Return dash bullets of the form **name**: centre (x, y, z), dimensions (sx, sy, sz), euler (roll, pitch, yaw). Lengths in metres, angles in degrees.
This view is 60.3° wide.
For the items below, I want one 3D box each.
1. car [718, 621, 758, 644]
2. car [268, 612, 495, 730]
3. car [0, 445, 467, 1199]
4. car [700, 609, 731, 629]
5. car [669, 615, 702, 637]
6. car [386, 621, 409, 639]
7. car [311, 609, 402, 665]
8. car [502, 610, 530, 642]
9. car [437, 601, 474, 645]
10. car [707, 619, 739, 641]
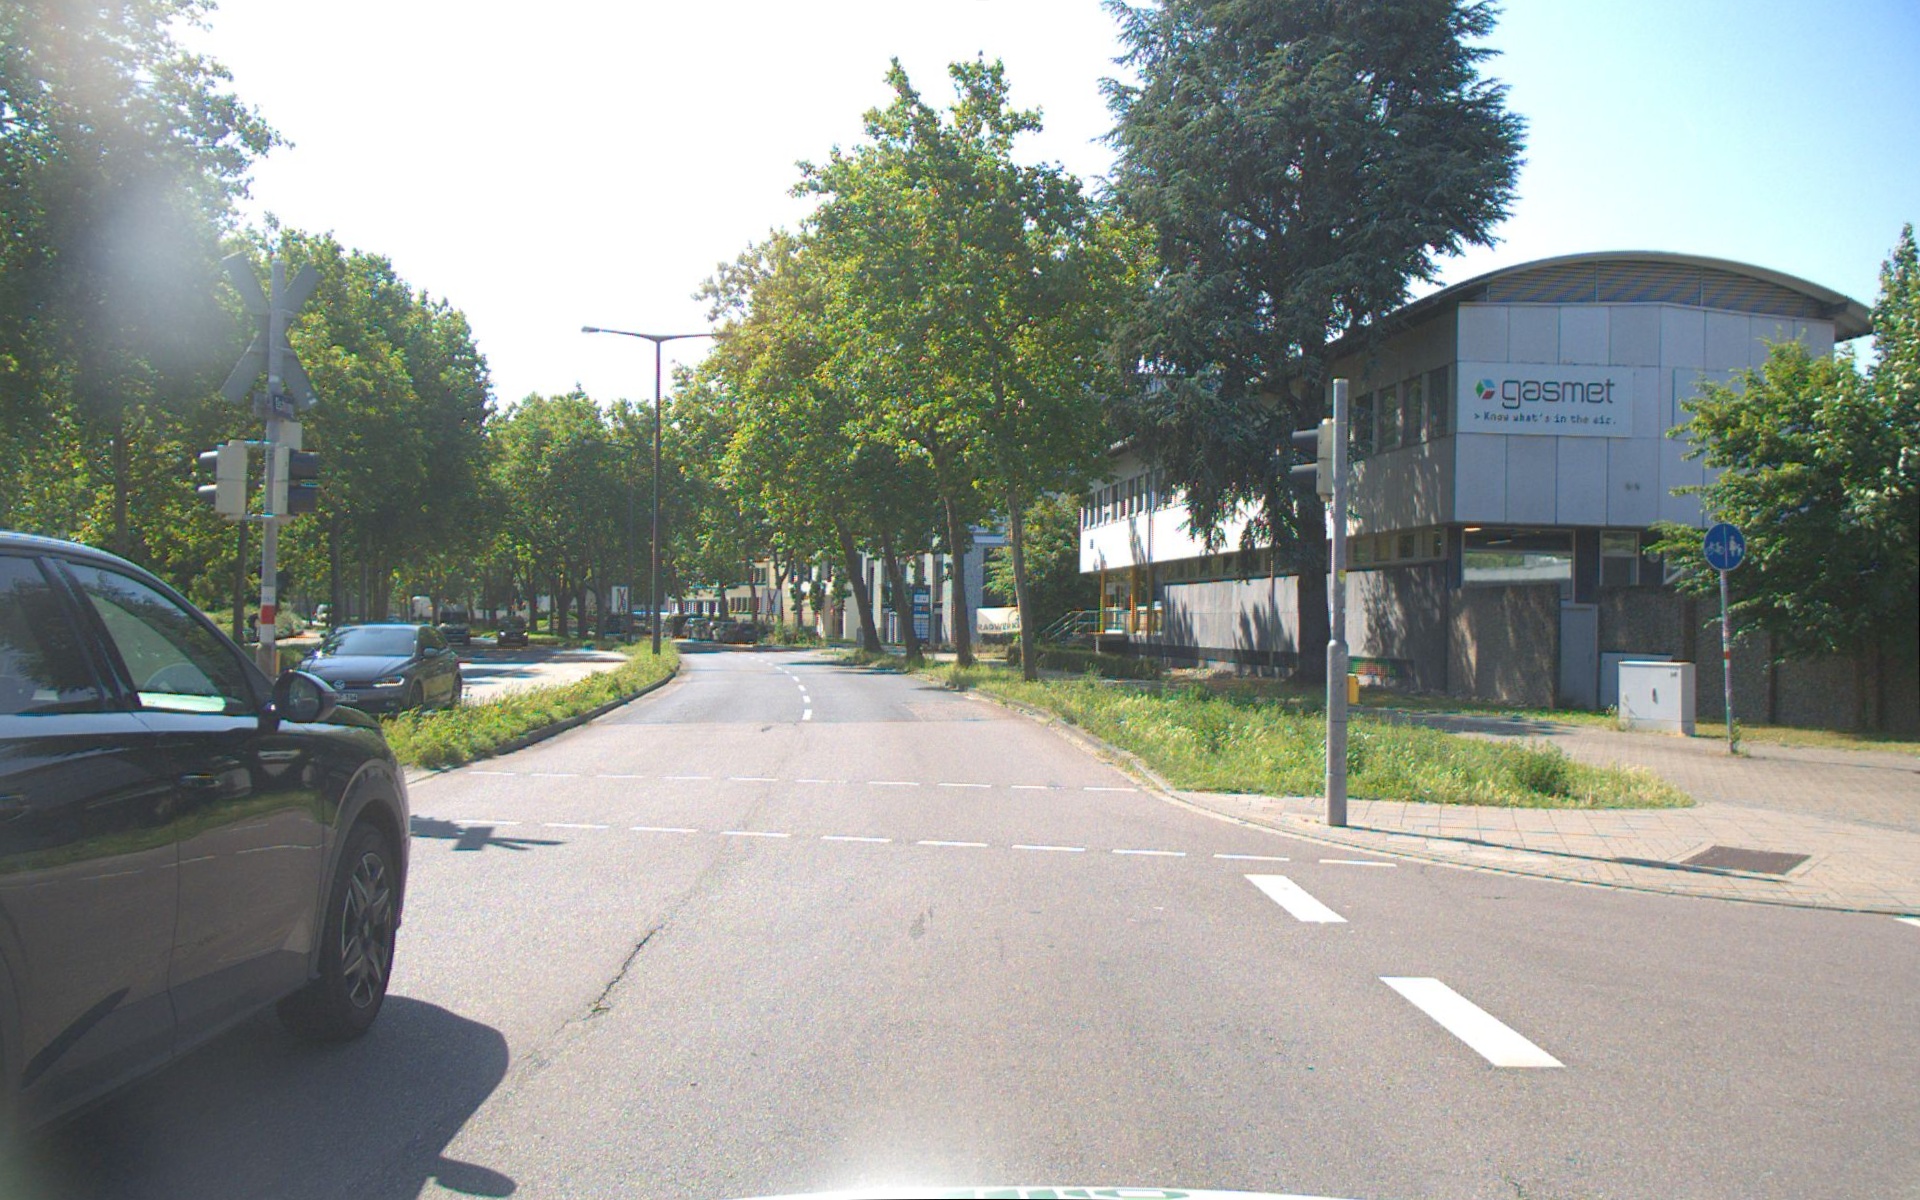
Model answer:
- **car**: centre (-15.351, 2.221, 114.229), dimensions (1.682, 1.513, 4.689), euler (-1, 0, -21)
- **car**: centre (-8.281, 0.959, 24.064), dimensions (1.658, 1.534, 4.131), euler (1, 0, 3)
- **car**: centre (-2.800, 0.600, 4.240), dimensions (1.834, 1.726, 4.434), euler (-1, -1, -2)
- **car**: centre (-18.433, 1.430, 124.554), dimensions (1.680, 1.480, 4.633), euler (0, 0, -17)
- **car**: centre (-22.602, 2.110, 136.101), dimensions (1.683, 1.699, 4.503), euler (0, 0, -22)
- **car**: centre (-52.405, 2.816, 154.112), dimensions (1.765, 1.583, 4.377), euler (0, 0, -15)
- **car**: centre (-18.697, 1.097, 51.405), dimensions (1.676, 1.617, 4.426), euler (-1, 0, -7)
- **car**: centre (-27.532, 1.571, 102.507), dimensions (1.658, 1.871, 4.974), euler (0, 0, -15)
- **car**: centre (-32.087, 1.429, 105.344), dimensions (2.027, 2.659, 7.186), euler (0, 0, -16)
- **car**: centre (-17.089, 2.142, 119.223), dimensions (1.680, 1.514, 4.081), euler (0, 0, -17)
